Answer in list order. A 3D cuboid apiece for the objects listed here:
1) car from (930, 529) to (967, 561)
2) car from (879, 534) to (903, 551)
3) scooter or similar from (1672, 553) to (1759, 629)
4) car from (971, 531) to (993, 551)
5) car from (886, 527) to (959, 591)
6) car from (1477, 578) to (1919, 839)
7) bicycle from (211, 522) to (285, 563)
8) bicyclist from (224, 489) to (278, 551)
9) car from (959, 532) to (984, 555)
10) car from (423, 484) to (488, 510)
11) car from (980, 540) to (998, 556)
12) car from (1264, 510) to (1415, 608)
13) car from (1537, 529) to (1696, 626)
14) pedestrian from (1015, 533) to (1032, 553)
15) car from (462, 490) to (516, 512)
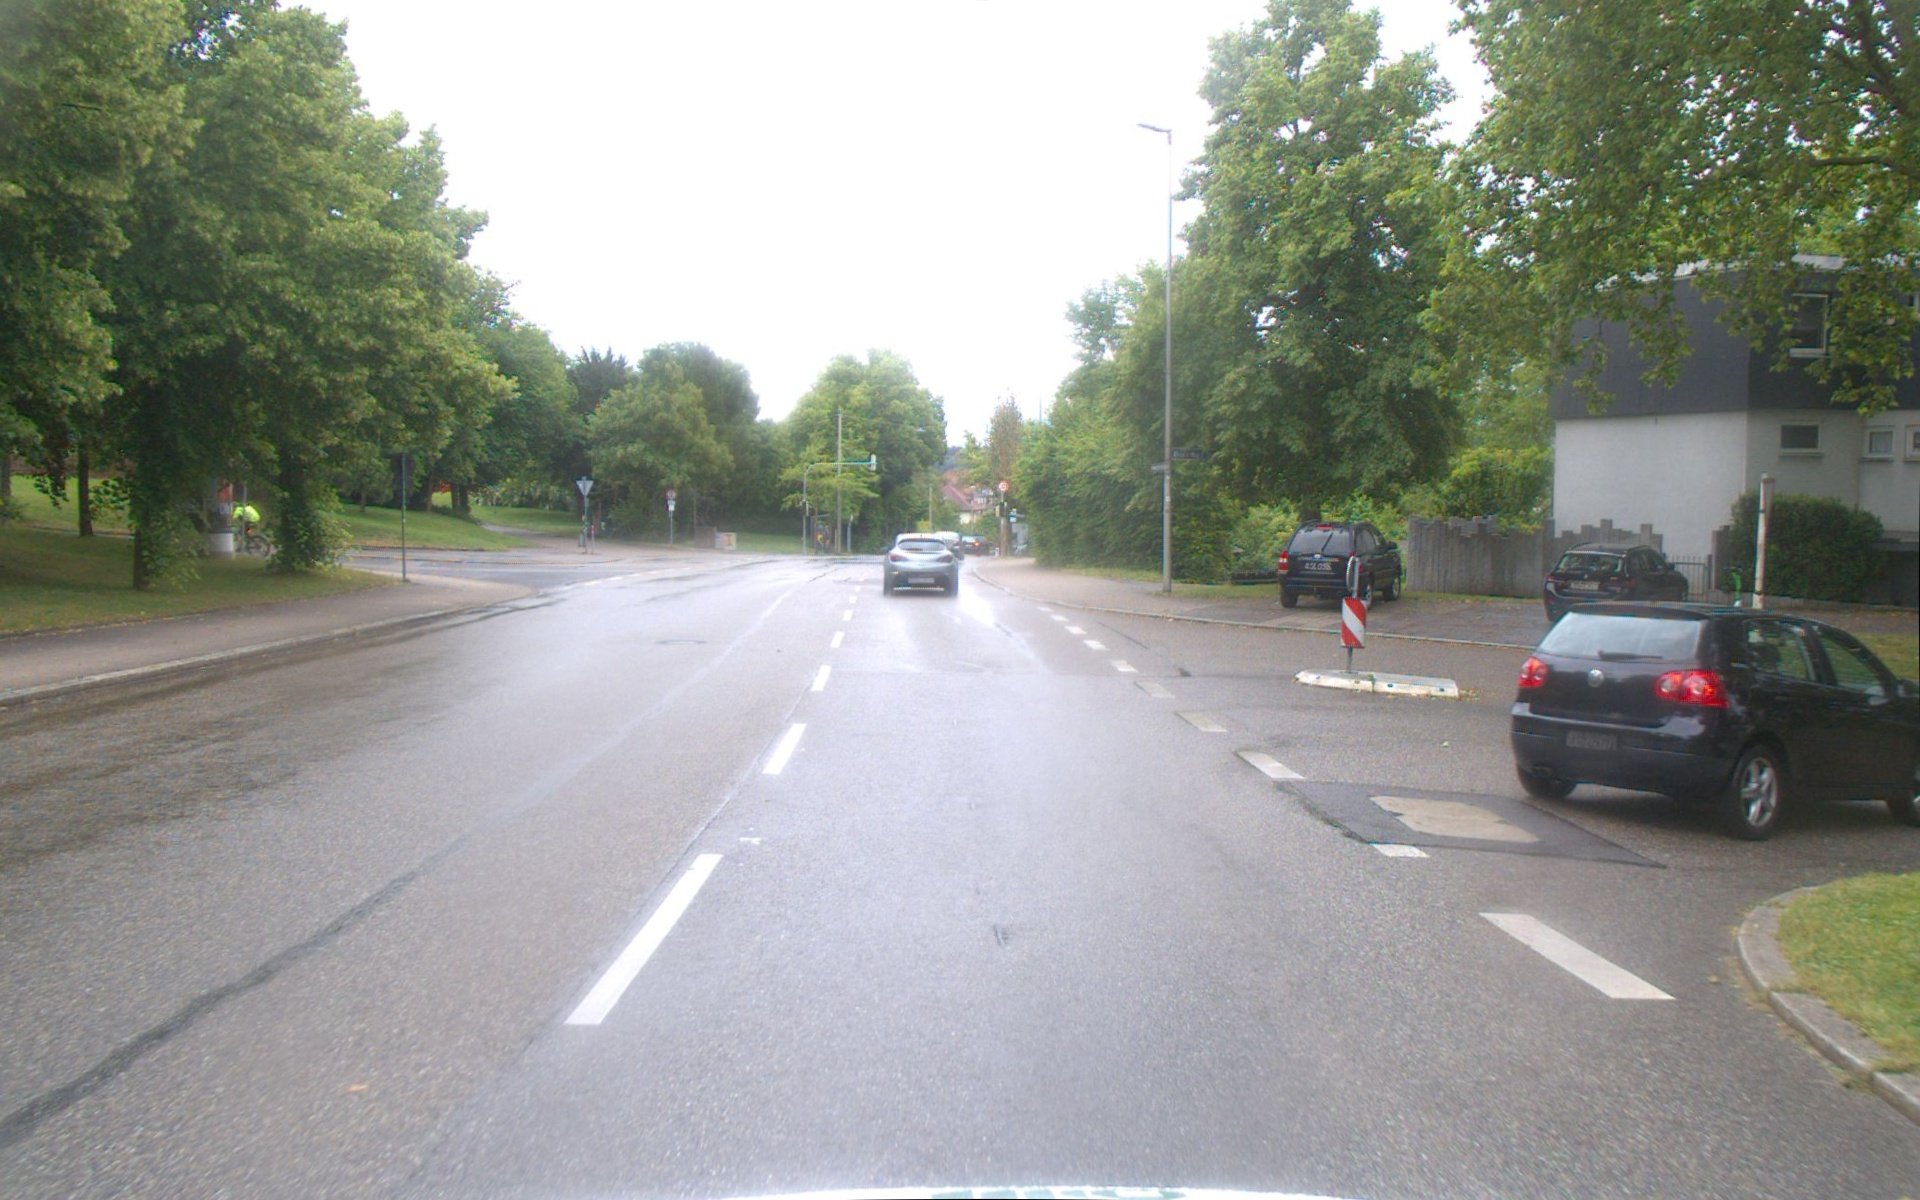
[{"bbox_3d":[-0.578,-2.843,85.530,1.686,1.489,4.001,4,2,1],"label":"car"},{"bbox_3d":[-5.779,-4.849,138.732,1.626,1.329,4.086,-1,3,3],"label":"car"},{"bbox_3d":[13.427,-0.167,29.396,1.310,1.308,0.561,-1,1,-7],"label":"scooter or similar"},{"bbox_3d":[1.801,-4.826,135.587,1.686,1.489,4.001,4,2,1],"label":"car"},{"bbox_3d":[-0.921,-1.018,40.859,1.719,1.489,4.000,0,2,-1],"label":"car"},{"bbox_3d":[5.691,0.734,11.984,3.959,1.489,1.705,3,2,-38],"label":"car"},{"bbox_3d":[-21.094,-1.692,48.984,1.989,1.175,0.854,1,1,21],"label":"bicycle"},{"bbox_3d":[-20.971,-2.363,48.931,1.255,1.786,0.854,1,1,21],"label":"bicyclist"},{"bbox_3d":[0.858,-4.094,119.880,1.686,1.489,4.001,4,2,1],"label":"car"},{"bbox_3d":[-32.003,-6.535,104.882,3.839,1.512,1.924,1,2,-20],"label":"car"},{"bbox_3d":[2.916,-5.267,166.695,1.686,1.489,4.001,4,2,1],"label":"car"},{"bbox_3d":[7.947,-0.932,34.323,1.910,1.718,4.900,3,6,26],"label":"car"},{"bbox_3d":[12.632,-0.500,31.678,1.722,1.494,4.550,5,7,36],"label":"car"},{"bbox_3d":[4.426,-3.988,115.028,1.050,1.379,0.919,0,2,9],"label":"pedestrian"},{"bbox_3d":[-35.350,-7.436,124.127,3.839,1.512,1.924,1,2,-20],"label":"car"}]
